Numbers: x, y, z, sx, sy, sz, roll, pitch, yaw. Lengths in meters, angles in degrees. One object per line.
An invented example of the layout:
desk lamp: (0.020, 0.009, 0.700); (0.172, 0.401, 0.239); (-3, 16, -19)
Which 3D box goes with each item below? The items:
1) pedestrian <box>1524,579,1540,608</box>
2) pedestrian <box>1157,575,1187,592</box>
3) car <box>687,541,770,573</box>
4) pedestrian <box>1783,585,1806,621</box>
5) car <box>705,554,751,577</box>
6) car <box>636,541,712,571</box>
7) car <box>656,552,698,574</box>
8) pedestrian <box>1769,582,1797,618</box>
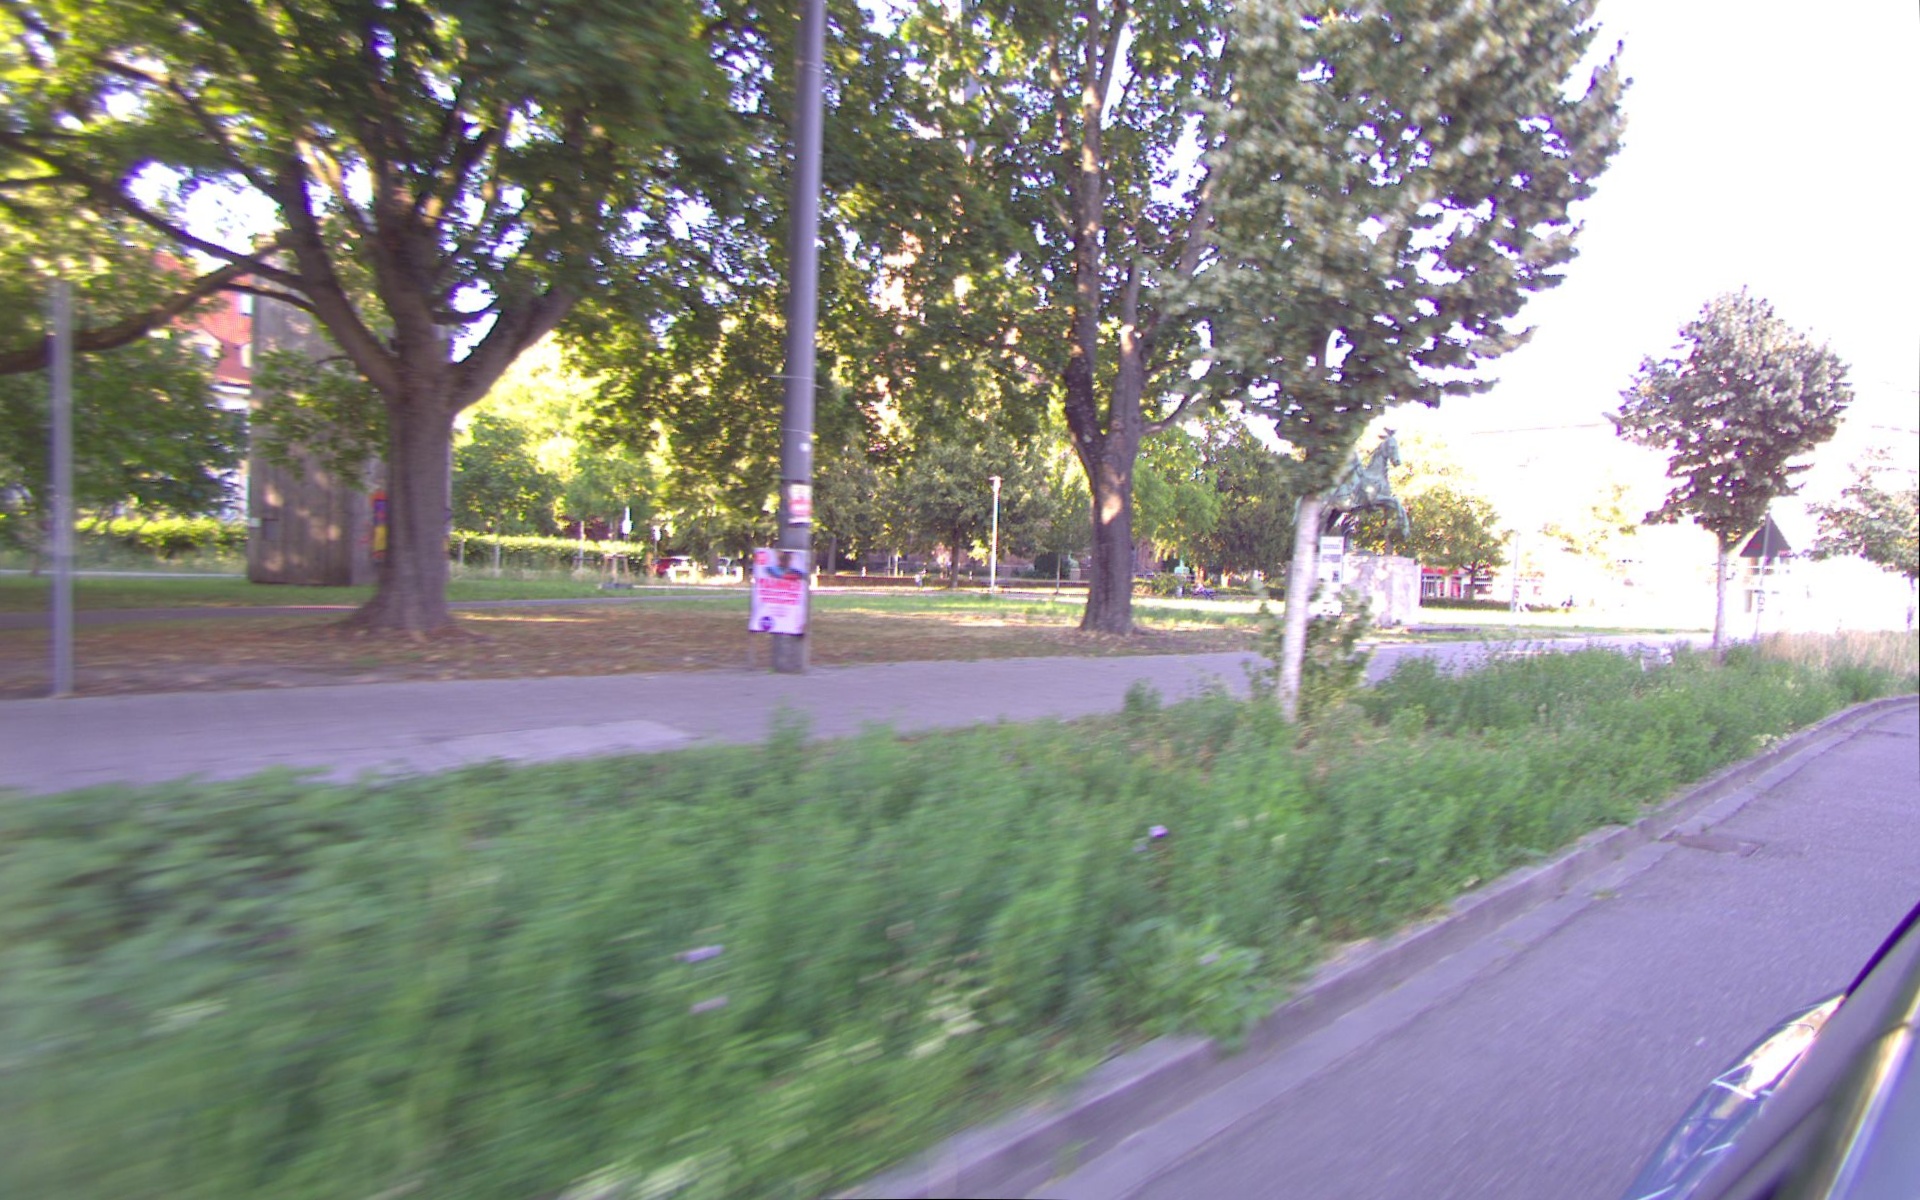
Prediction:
pedestrian: (34.714, -0.389, 61.444); (0.633, 1.760, 0.593); (2, 1, 16)
pedestrian: (13.516, -1.025, 64.593); (1.258, 1.006, 1.385); (1, 2, -30)
car: (-13.925, -2.580, 61.097); (1.993, 1.739, 4.568); (4, 3, 42)
pedestrian: (41.028, 0.131, 49.781); (0.767, 1.709, 0.599); (2, 3, -38)
car: (-16.524, -2.442, 71.929); (1.568, 1.528, 4.157); (1, 1, -37)
car: (-17.607, -2.727, 62.336); (4.088, 1.650, 1.868); (1, 3, -43)
car: (-21.261, -2.753, 75.913); (1.599, 1.528, 4.157); (1, 2, -37)
pedestrian: (39.954, -0.021, 49.144); (0.899, 1.669, 0.741); (2, 4, -38)
